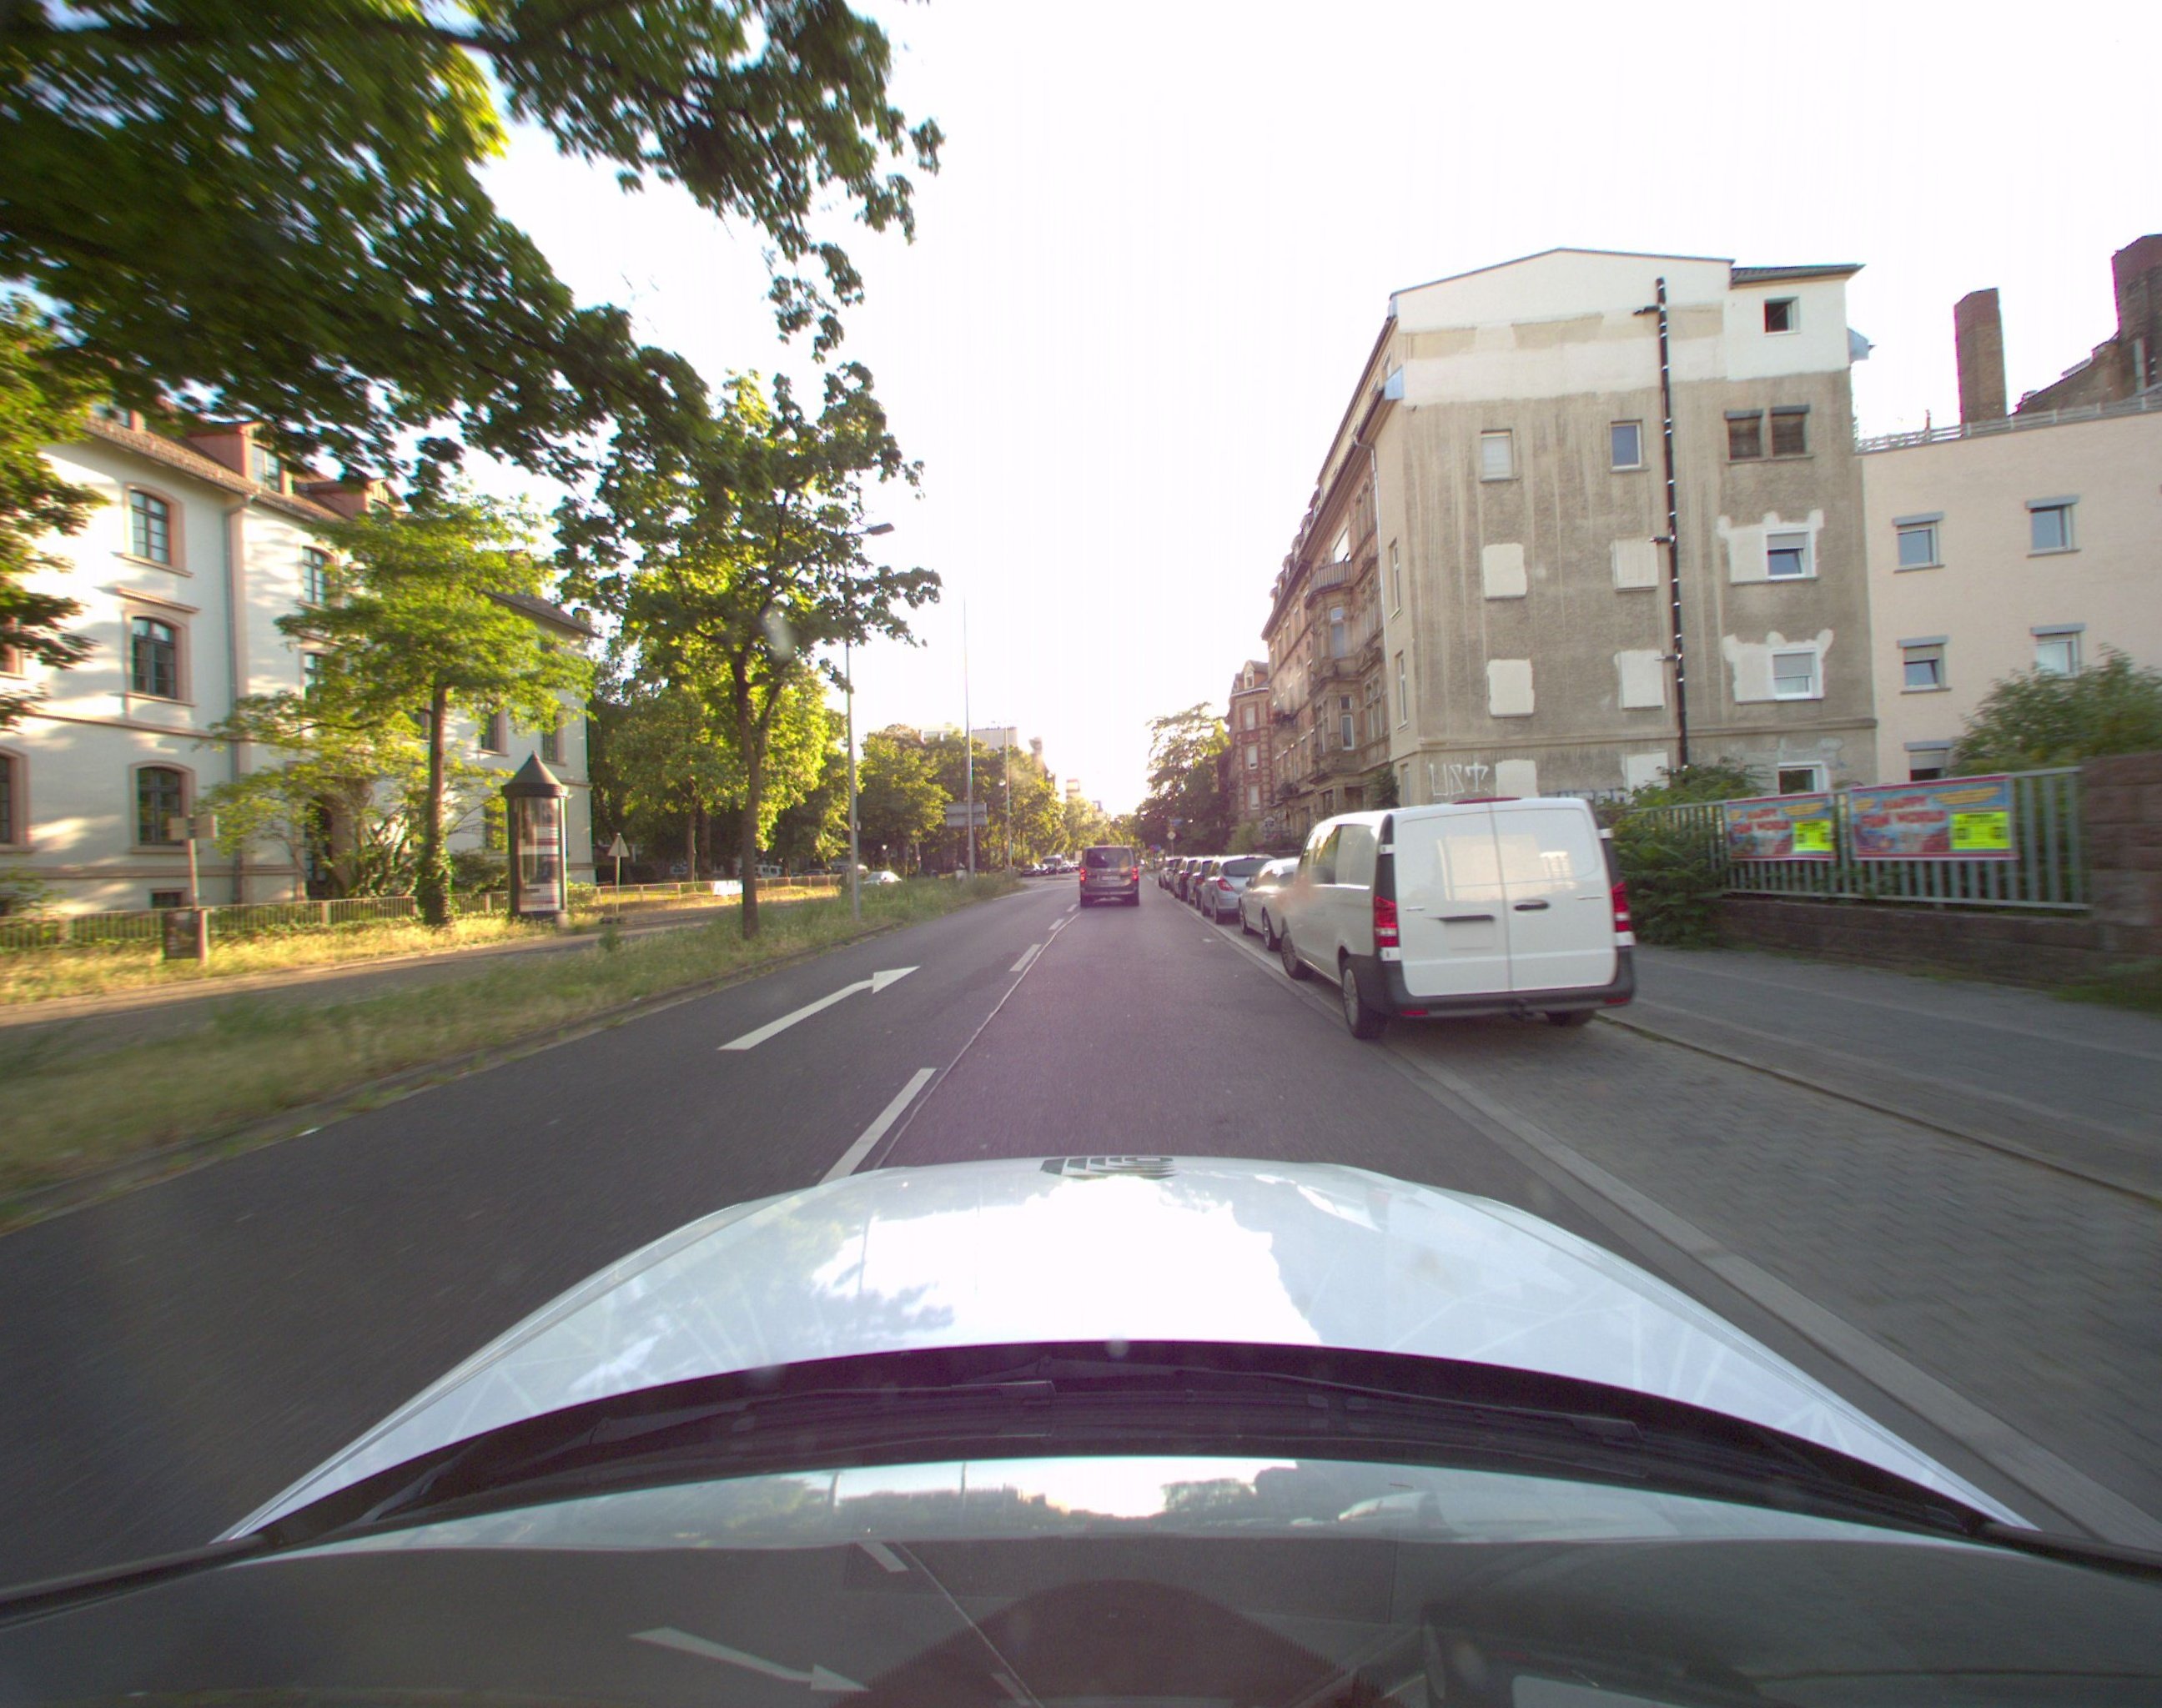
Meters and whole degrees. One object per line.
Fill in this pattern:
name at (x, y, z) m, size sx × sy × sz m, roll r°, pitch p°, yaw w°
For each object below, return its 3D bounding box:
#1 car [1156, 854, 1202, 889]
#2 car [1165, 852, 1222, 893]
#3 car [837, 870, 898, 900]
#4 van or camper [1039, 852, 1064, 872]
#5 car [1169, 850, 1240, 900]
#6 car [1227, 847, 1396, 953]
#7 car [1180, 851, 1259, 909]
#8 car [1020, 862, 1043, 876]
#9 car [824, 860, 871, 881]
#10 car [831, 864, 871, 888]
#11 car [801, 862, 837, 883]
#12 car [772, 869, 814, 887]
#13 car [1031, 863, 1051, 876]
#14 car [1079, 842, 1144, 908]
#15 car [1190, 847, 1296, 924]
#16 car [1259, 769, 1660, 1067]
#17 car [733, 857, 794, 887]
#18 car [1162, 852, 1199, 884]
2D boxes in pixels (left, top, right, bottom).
car at (4.555, 0.814, 38.296) m, size 1.671 × 1.426 × 3.678 m, roll -6°, pitch -1°, yaw 2°
car at (4.604, 0.726, 33.939) m, size 1.880 × 1.426 × 4.346 m, roll -6°, pitch -1°, yaw 3°
car at (-10.989, 1.577, 42.106) m, size 1.766 × 1.273 × 4.011 m, roll -6°, pitch -1°, yaw 3°
van or camper at (-3.784, 1.014, 105.152) m, size 2.080 × 2.468 × 6.318 m, roll -3°, pitch -1°, yaw 7°
car at (4.247, 0.691, 28.631) m, size 1.880 × 1.448 × 4.466 m, roll -6°, pitch -1°, yaw 2°
car at (3.751, 0.689, 14.139) m, size 1.721 × 1.385 × 4.646 m, roll -6°, pitch -1°, yaw 3°
car at (4.023, 0.725, 24.225) m, size 1.740 × 1.426 × 3.842 m, roll -6°, pitch -1°, yaw 2°
car at (-5.586, 1.685, 92.070) m, size 1.614 × 1.506 × 4.554 m, roll -3°, pitch -1°, yaw 8°
car at (-29.815, 2.103, 104.040) m, size 2.244 × 2.486 × 5.267 m, roll -3°, pitch -1°, yaw 41°
car at (-18.240, 1.696, 64.689) m, size 1.810 × 1.795 × 4.004 m, roll -1°, pitch -1°, yaw 3°
car at (-24.824, 1.708, 77.296) m, size 1.985 × 1.882 × 4.004 m, roll 0°, pitch -1°, yaw 3°
car at (-23.055, 1.902, 65.372) m, size 1.725 × 1.332 × 4.004 m, roll -1°, pitch -1°, yaw 3°
car at (-4.778, 1.854, 97.792) m, size 1.620 × 1.429 × 4.250 m, roll -3°, pitch -1°, yaw 7°
car at (0.994, 0.643, 26.616) m, size 1.880 × 1.925 × 3.841 m, roll -3°, pitch -1°, yaw 2°
car at (3.710, 0.699, 19.295) m, size 1.694 × 1.487 × 3.894 m, roll -6°, pitch -1°, yaw 1°
car at (3.194, 0.473, 8.291) m, size 1.879 × 1.918 × 5.186 m, roll -6°, pitch -1°, yaw 5°
car at (-25.622, 1.431, 65.870) m, size 2.201 × 2.289 × 5.112 m, roll -2°, pitch -1°, yaw 10°
car at (5.245, 0.736, 43.279) m, size 1.718 × 1.465 × 3.551 m, roll -6°, pitch -1°, yaw 5°
